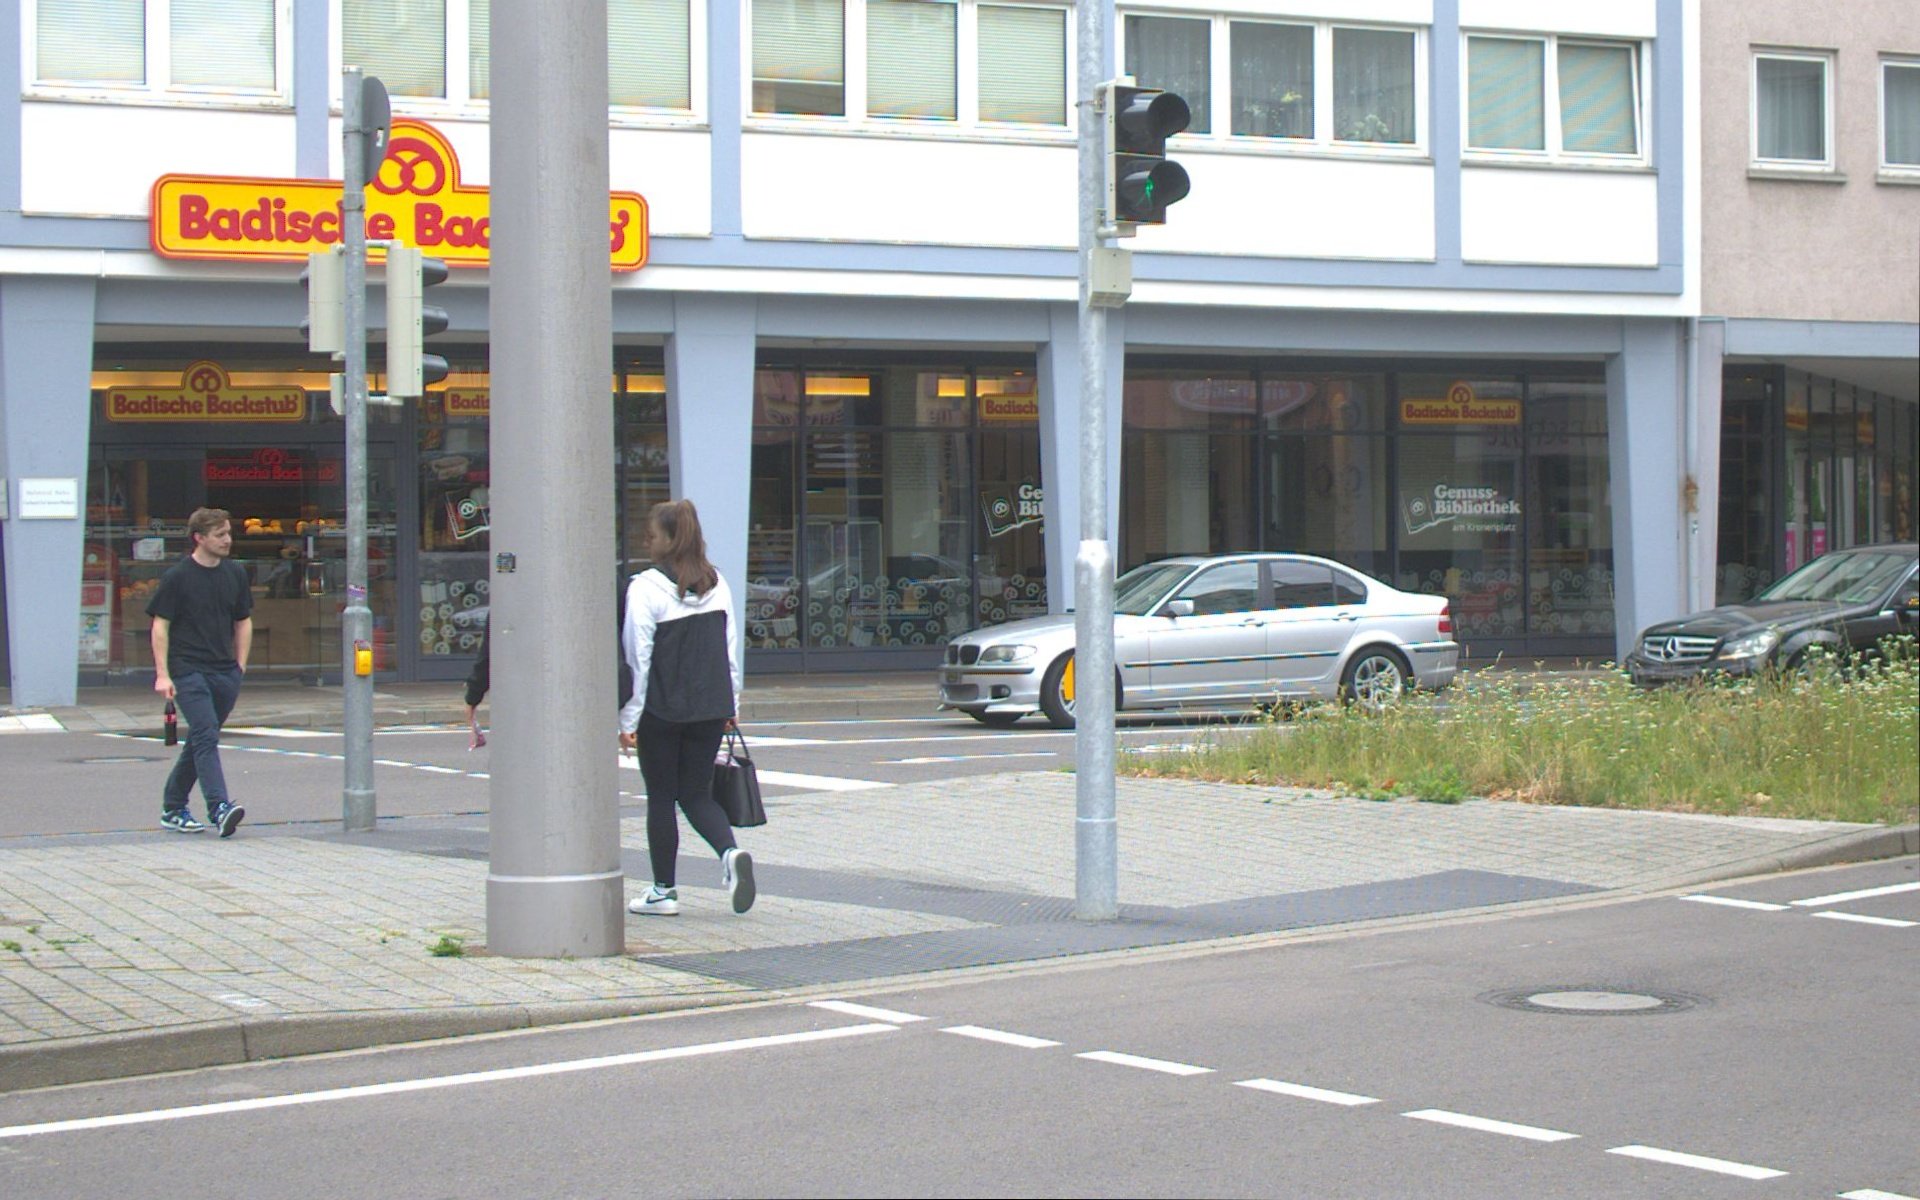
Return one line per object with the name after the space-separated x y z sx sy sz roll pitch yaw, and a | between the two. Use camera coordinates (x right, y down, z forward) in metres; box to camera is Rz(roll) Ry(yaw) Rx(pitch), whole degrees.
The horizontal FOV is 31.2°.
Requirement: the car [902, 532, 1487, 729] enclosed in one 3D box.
1.966 0.213 28.579 4.551 1.476 1.749 -1 1 -25 | car

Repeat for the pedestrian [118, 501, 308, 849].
-4.067 0.389 18.679 0.713 1.826 1.017 1 0 -30 | pedestrian

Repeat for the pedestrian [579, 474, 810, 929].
-1.068 0.388 13.748 0.621 1.755 0.780 1 0 -30 | pedestrian

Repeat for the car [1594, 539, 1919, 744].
7.399 0.267 27.057 4.551 1.476 1.749 -1 1 -25 | car

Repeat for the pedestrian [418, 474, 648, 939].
-1.680 0.398 13.480 0.621 1.755 0.780 1 0 -30 | pedestrian
